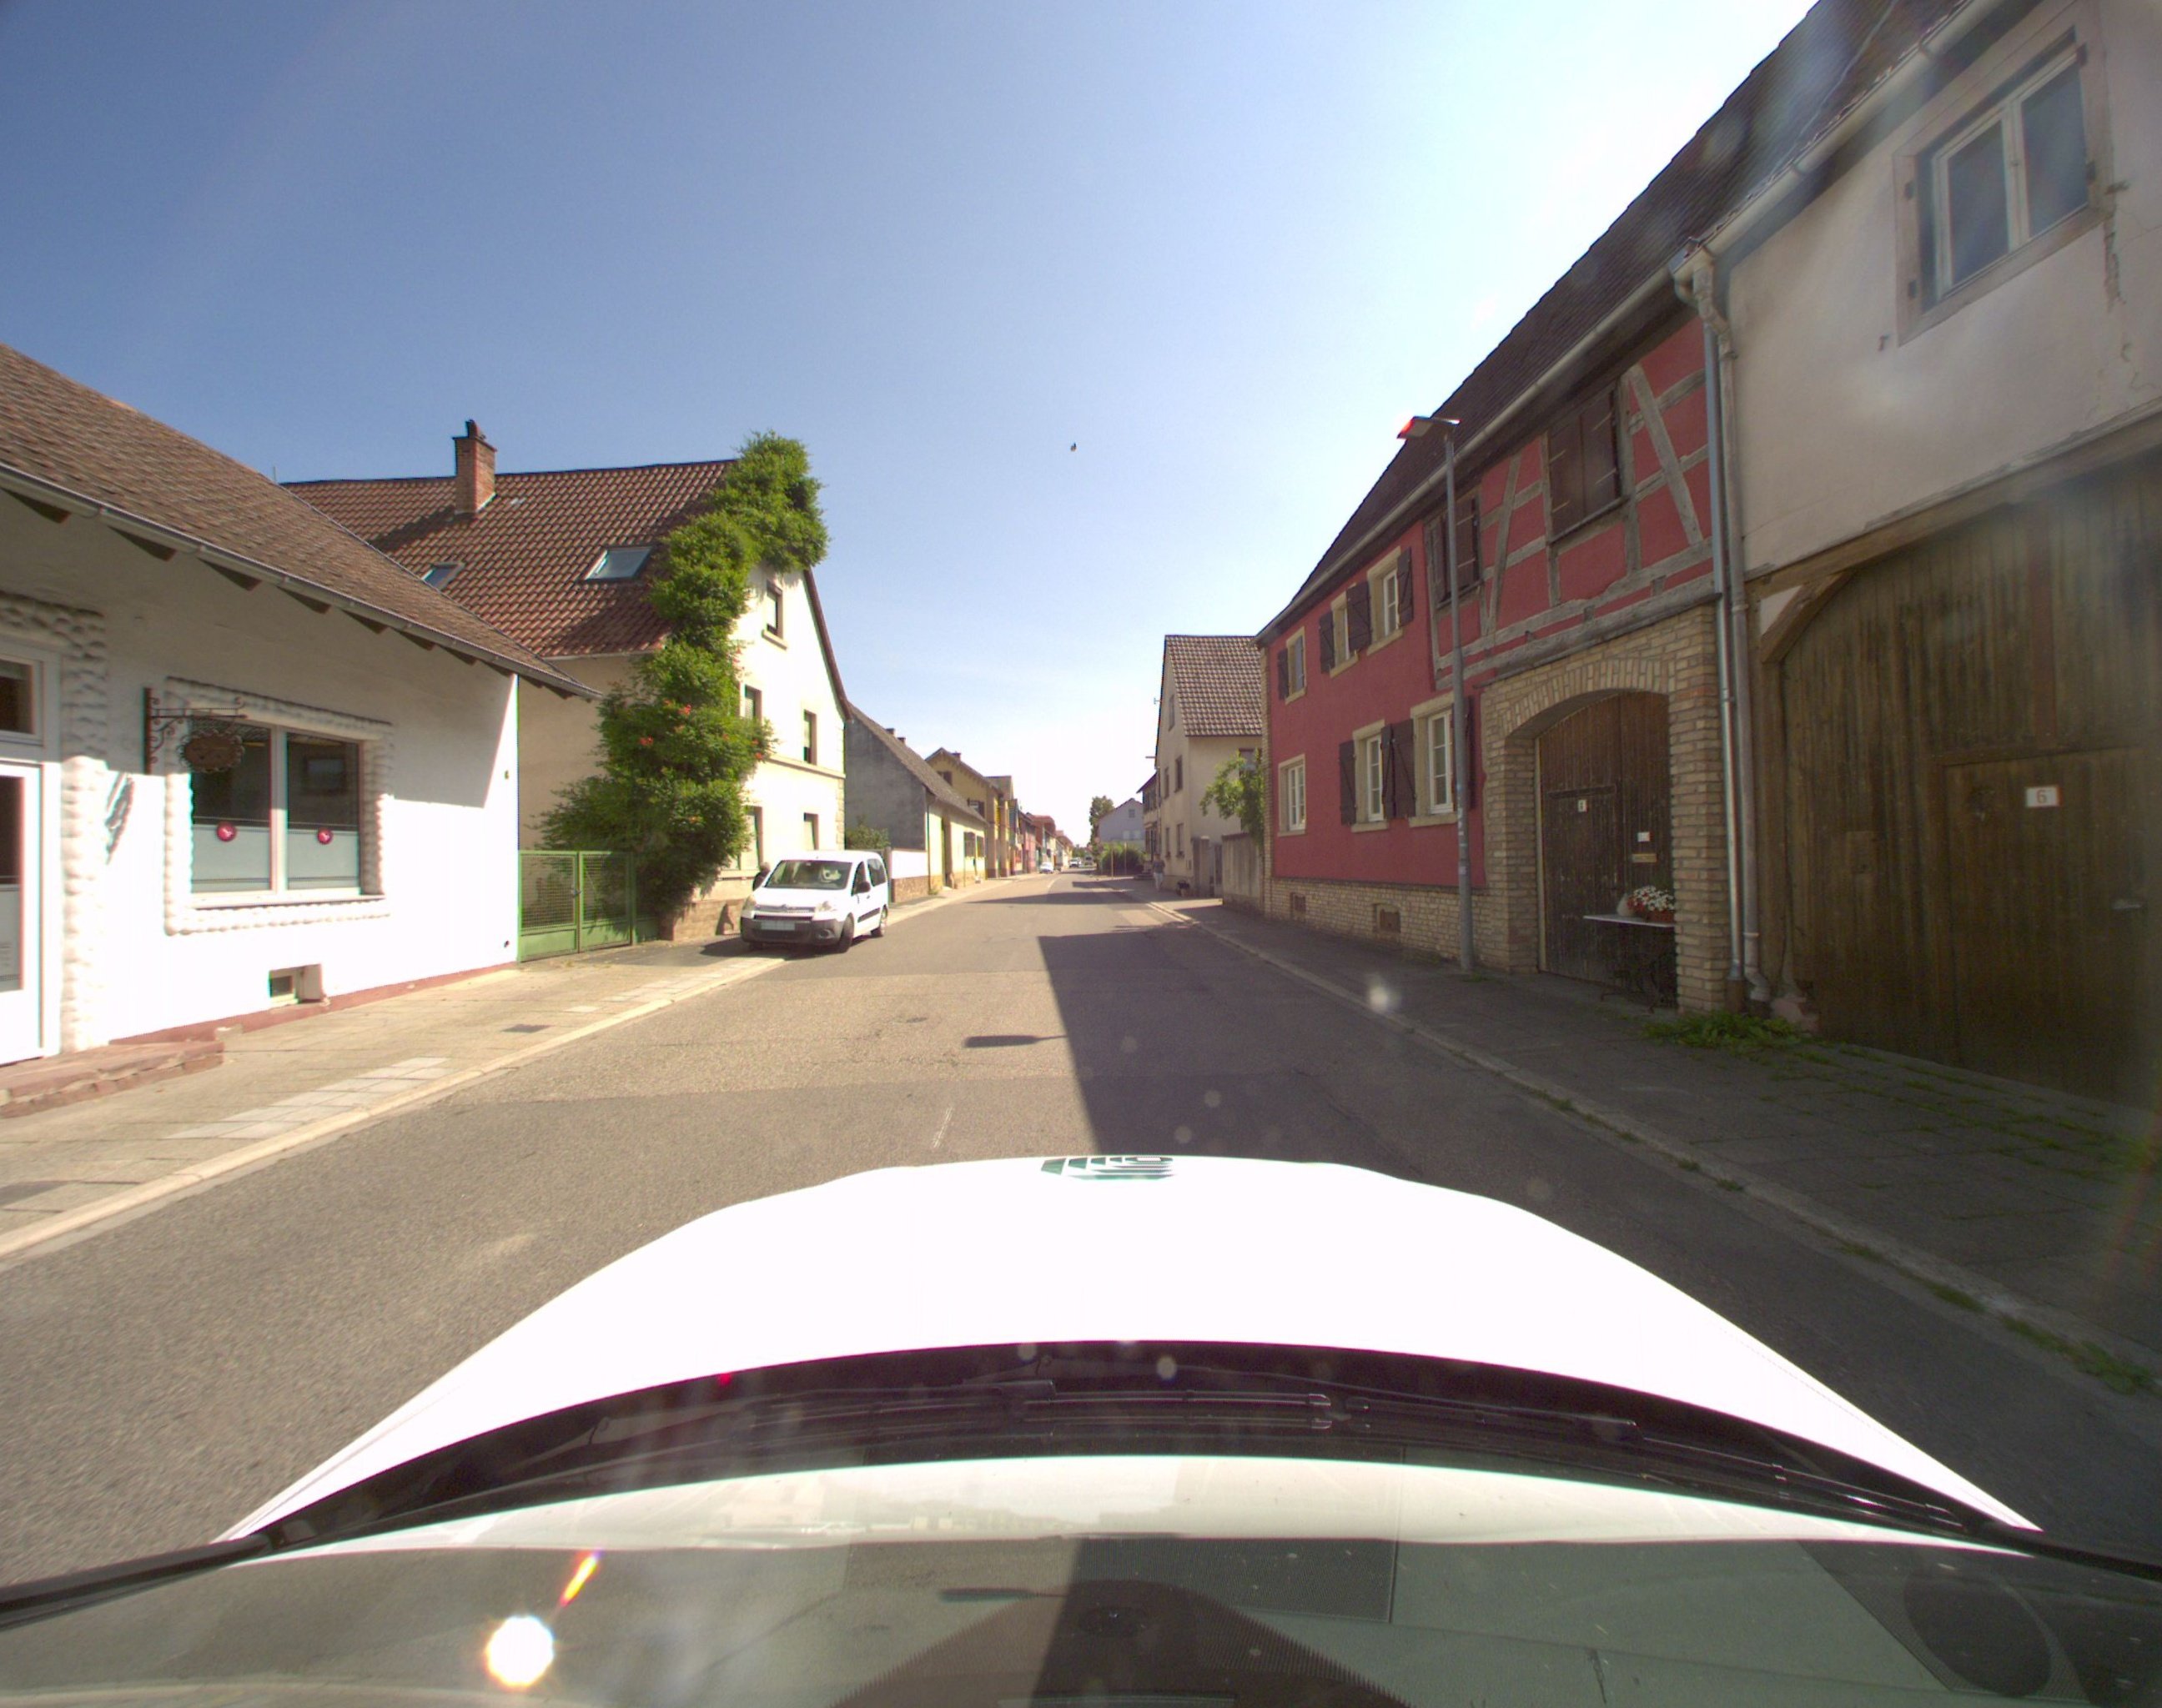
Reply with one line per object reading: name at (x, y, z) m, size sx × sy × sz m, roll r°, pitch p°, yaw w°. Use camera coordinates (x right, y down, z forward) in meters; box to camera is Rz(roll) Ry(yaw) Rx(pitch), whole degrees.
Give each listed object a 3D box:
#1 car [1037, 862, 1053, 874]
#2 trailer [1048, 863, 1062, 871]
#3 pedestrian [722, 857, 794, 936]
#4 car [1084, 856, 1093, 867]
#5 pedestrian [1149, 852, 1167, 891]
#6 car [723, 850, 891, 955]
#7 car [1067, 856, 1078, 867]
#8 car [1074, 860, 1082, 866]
car at (-4.846, 1.879, 110.115) m, size 1.988 × 1.442 × 3.998 m, roll -2°, pitch 0°, yaw -1°
trailer at (-4.065, 1.999, 126.722) m, size 1.989 × 1.090 × 3.996 m, roll -2°, pitch 0°, yaw -3°
pedestrian at (-6.627, 0.850, 16.772) m, size 1.010 × 1.552 × 1.139 m, roll -1°, pitch -1°, yaw 0°
car at (1.967, 1.907, 209.273) m, size 2.012 × 2.568 × 3.997 m, roll -2°, pitch -1°, yaw -1°
pedestrian at (3.356, 0.755, 35.530) m, size 0.716 × 1.664 × 0.893 m, roll -1°, pitch -1°, yaw 2°
car at (-4.929, 0.793, 15.345) m, size 1.851 × 1.647 × 4.424 m, roll -1°, pitch 0°, yaw -3°
car at (-1.852, 1.614, 172.392) m, size 2.152 × 2.080 × 3.996 m, roll -2°, pitch -2°, yaw -2°
car at (-0.801, 2.442, 225.712) m, size 1.987 × 1.750 × 3.999 m, roll -1°, pitch 0°, yaw 0°
